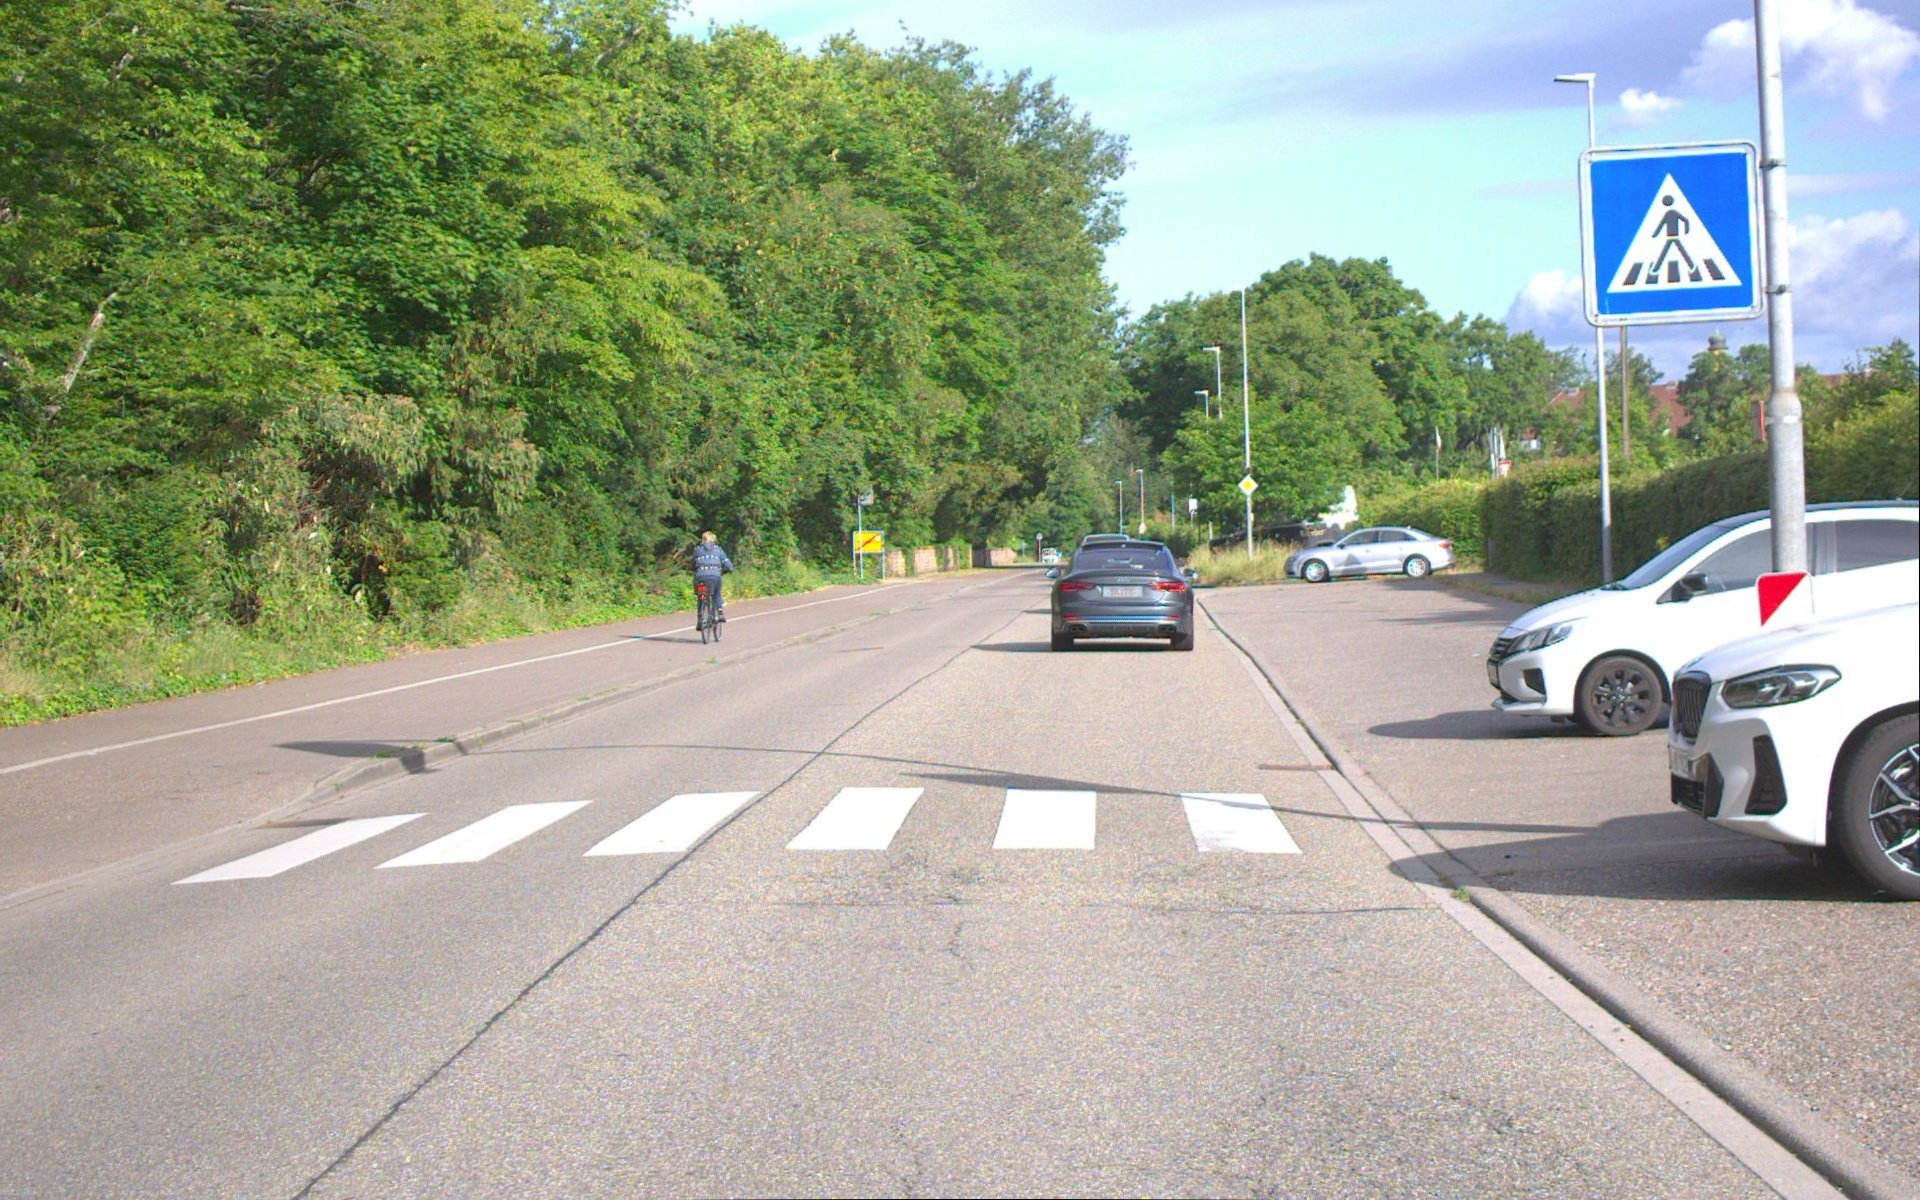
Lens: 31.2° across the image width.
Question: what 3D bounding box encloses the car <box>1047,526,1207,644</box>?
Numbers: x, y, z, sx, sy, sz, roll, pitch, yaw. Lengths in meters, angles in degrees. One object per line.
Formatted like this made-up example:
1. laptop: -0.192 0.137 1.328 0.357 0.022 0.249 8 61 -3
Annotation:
1. car: 2.223 -0.227 44.834 1.966 1.429 4.336 -1 1 4

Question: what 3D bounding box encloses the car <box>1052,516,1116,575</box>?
1. car: 3.075 -1.371 85.524 1.495 1.361 3.262 -2 1 2

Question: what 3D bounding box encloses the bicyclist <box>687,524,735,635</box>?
1. bicyclist: -3.804 -0.316 52.570 0.608 1.671 0.883 -1 1 4

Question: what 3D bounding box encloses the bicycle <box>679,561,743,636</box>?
1. bicycle: -3.803 -0.041 52.601 0.662 1.093 2.348 0 1 4

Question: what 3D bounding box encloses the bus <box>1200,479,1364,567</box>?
1. bus: 11.165 -2.695 119.459 5.365 2.737 2.068 -3 2 1

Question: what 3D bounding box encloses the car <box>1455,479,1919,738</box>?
1. car: 5.645 0.015 24.665 3.857 1.485 1.692 -5 2 2

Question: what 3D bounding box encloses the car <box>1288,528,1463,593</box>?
1. car: 10.808 -1.033 89.267 4.364 1.438 1.932 -3 0 10

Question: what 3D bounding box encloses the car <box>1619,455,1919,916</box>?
1. car: 5.106 0.205 13.735 4.588 1.693 1.763 -3 1 4
